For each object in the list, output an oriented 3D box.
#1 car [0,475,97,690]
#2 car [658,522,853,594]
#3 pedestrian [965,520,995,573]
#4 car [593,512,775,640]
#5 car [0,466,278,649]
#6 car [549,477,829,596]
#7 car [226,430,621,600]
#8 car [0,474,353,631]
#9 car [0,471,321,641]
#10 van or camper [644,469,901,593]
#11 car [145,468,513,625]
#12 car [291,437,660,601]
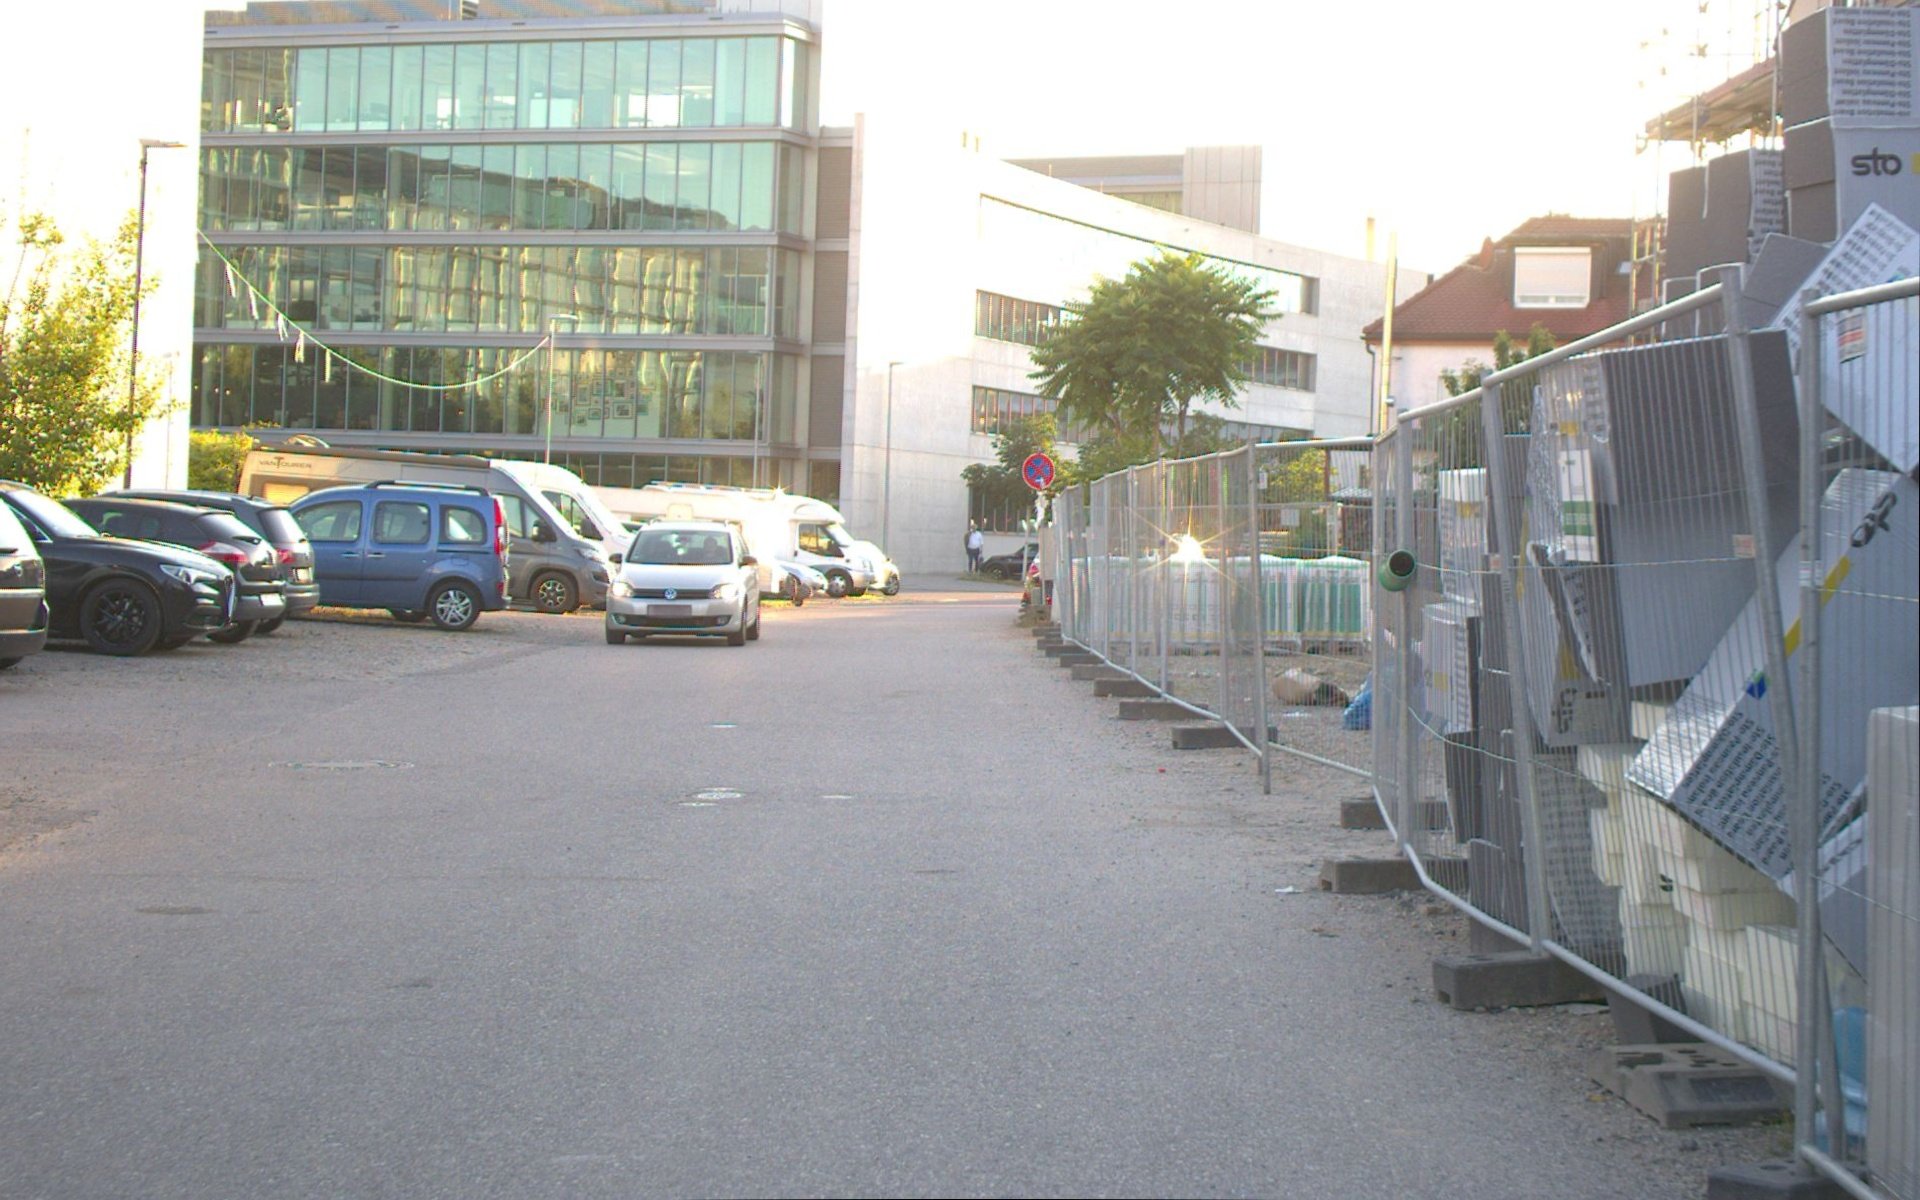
[{"bbox_3d":[-9.426,-0.218,27.361,4.505,1.642,1.999,2,1,8],"label":"car"},{"bbox_3d":[-5.077,-1.057,85.631,4.505,1.642,1.999,2,1,8],"label":"car"},{"bbox_3d":[0.699,-1.860,119.998,0.764,1.810,0.844,2,1,23],"label":"pedestrian"},{"bbox_3d":[-3.512,-0.333,44.339,1.665,1.523,3.910,2,1,5],"label":"car"},{"bbox_3d":[-9.111,-0.453,33.239,4.505,1.642,1.999,2,1,8],"label":"car"},{"bbox_3d":[-6.092,-1.440,77.468,5.926,2.481,1.999,2,1,10],"label":"car"},{"bbox_3d":[-9.042,-1.437,58.306,6.328,2.642,2.000,2,1,0],"label":"car"},{"bbox_3d":[-9.448,-0.569,39.343,4.505,1.642,1.999,2,1,8],"label":"car"},{"bbox_3d":[-9.201,-0.495,35.970,4.505,1.642,1.999,2,1,8],"label":"car"},{"bbox_3d":[-4.961,-1.827,91.298,6.336,2.968,2.291,3,1,12],"label":"van or camper"},{"bbox_3d":[-8.098,-0.697,44.467,4.503,1.862,2.001,2,1,-6],"label":"car"},{"bbox_3d":[-8.713,-1.453,62.159,6.328,2.731,2.000,2,1,0],"label":"car"}]
